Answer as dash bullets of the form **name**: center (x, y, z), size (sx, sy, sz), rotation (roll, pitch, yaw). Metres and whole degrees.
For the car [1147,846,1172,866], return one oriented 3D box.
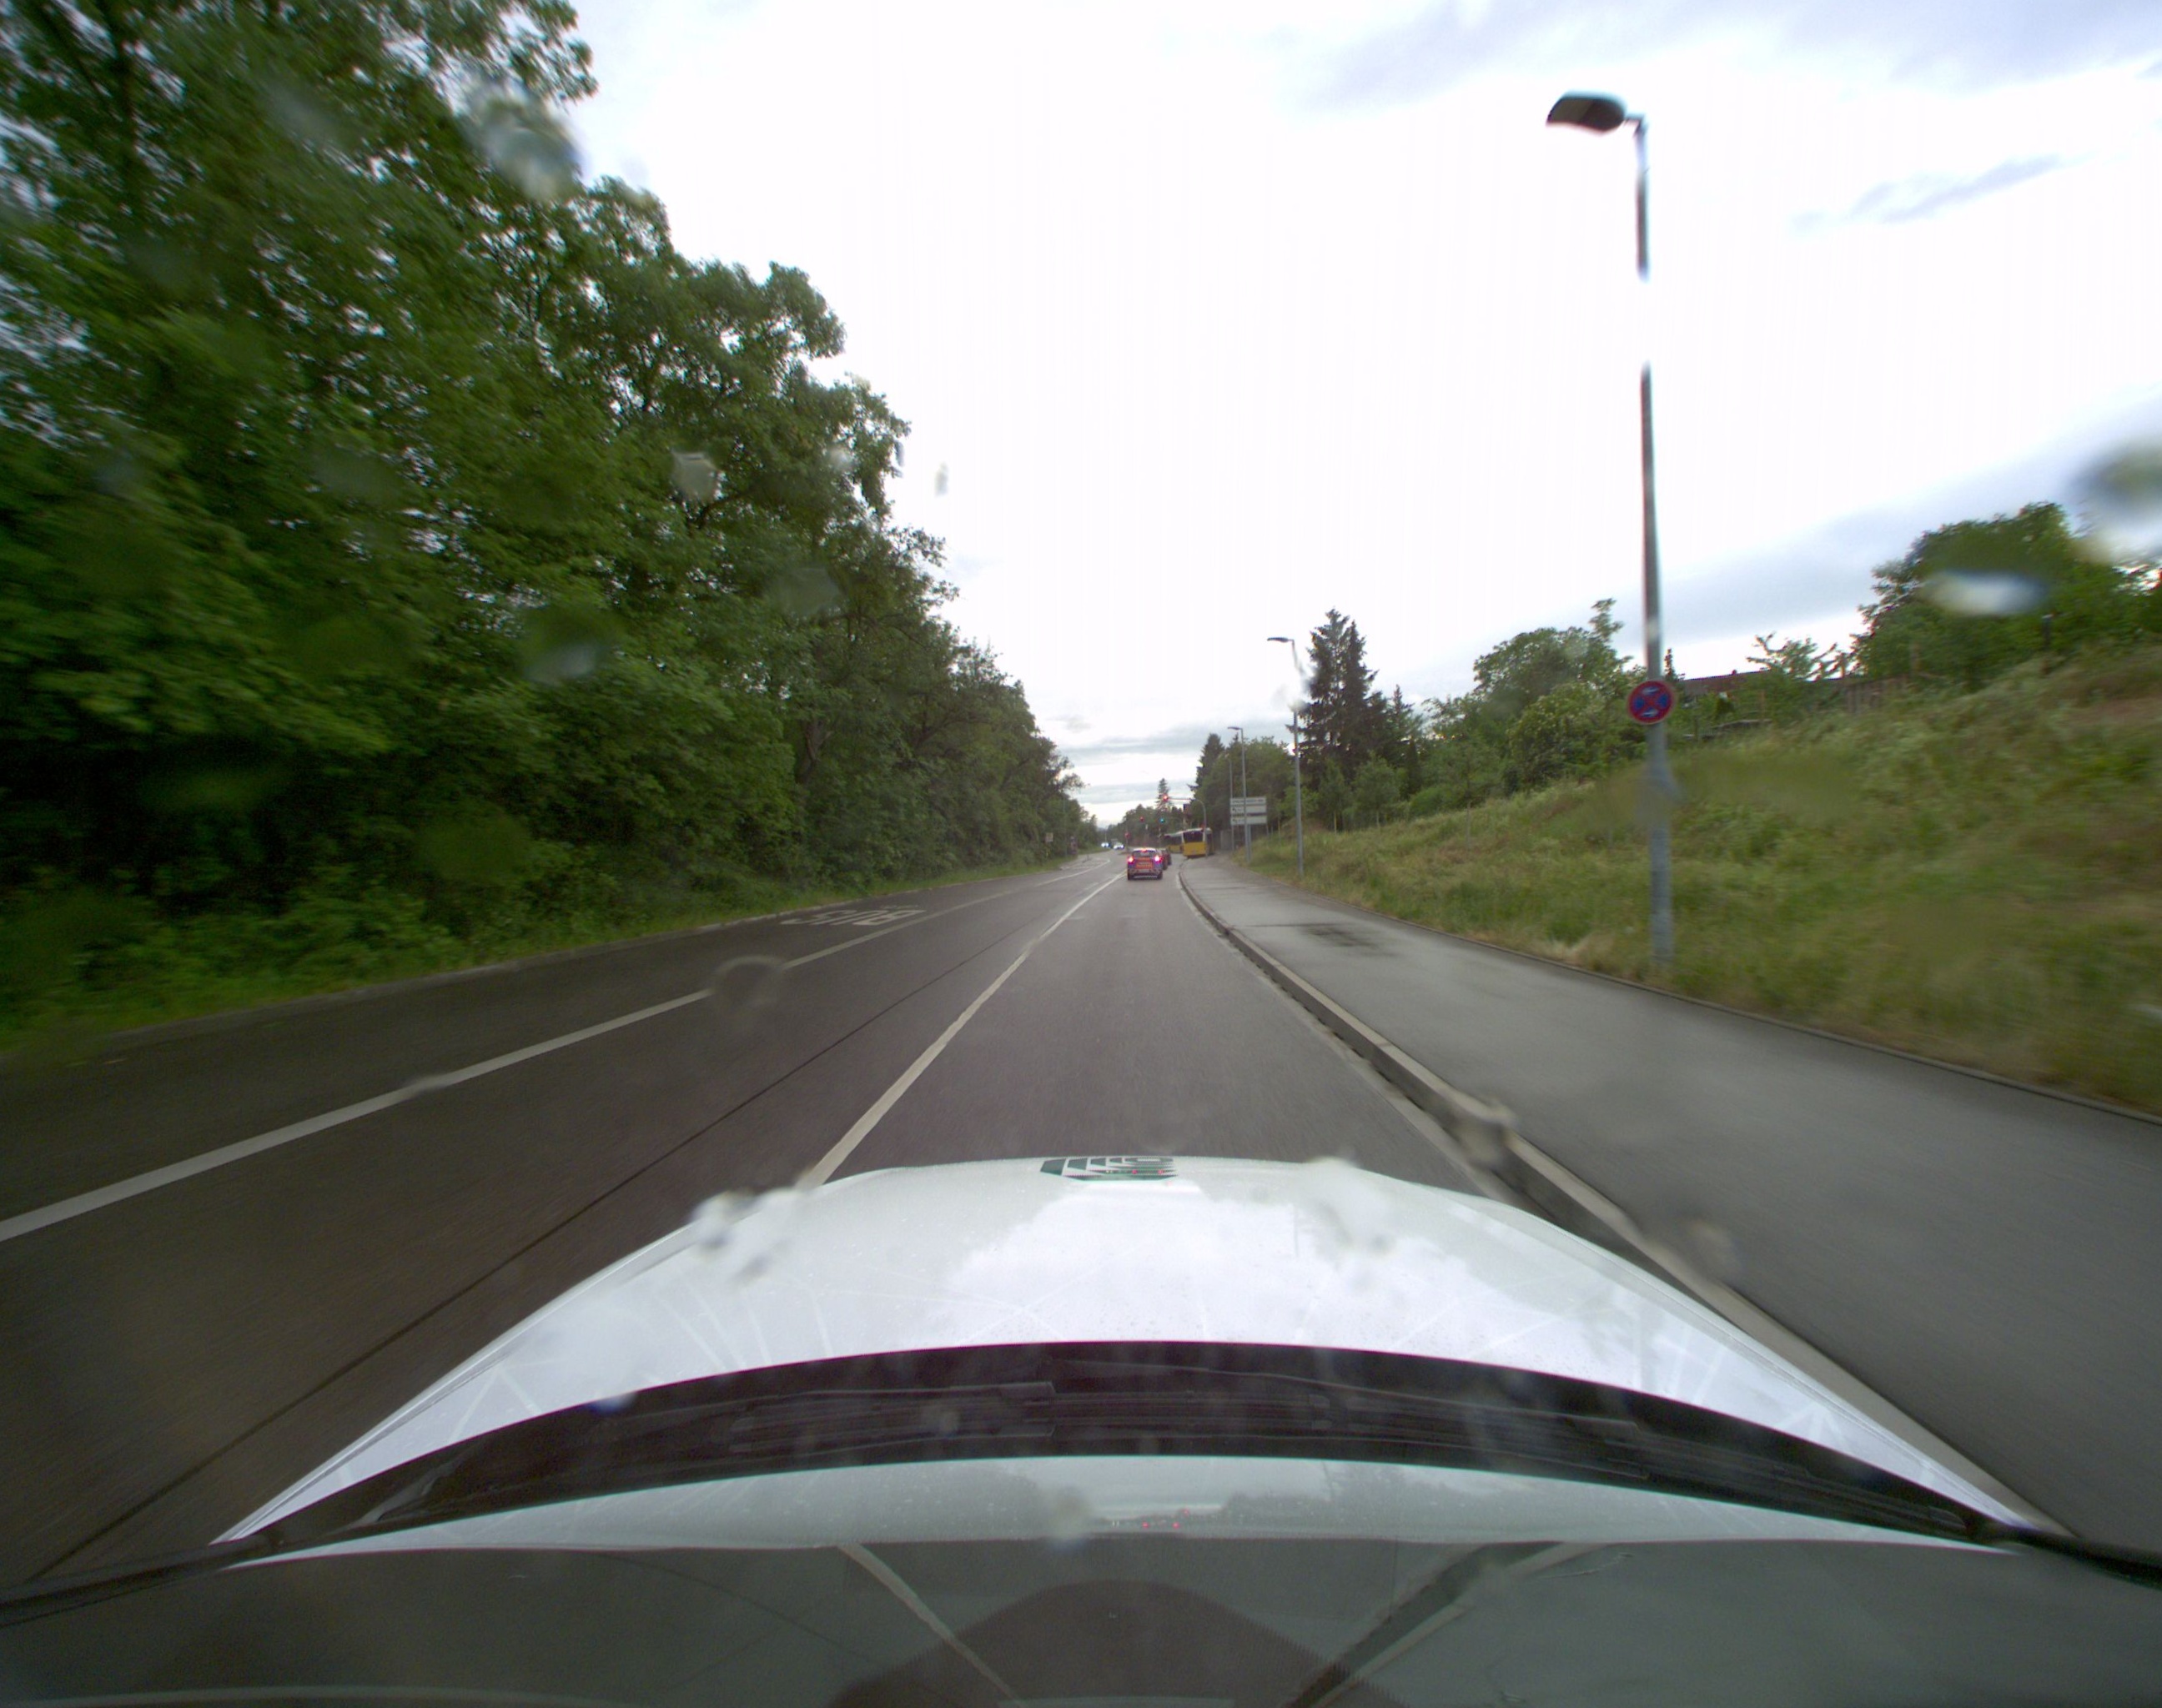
- **car**: center (6.472, 0.182, 67.340), size (1.984, 1.552, 4.005), rotation (-1, 0, 5)

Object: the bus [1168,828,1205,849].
- **bus**: center (15.335, -2.236, 119.439), size (2.814, 2.806, 10.612), rotation (-1, 0, -7)

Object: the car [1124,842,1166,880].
- **car**: center (3.243, 0.321, 41.637), size (1.985, 1.689, 4.005), rotation (-3, 1, 4)

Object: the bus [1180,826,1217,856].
- **bus**: center (12.841, -1.359, 88.596), size (2.796, 3.142, 9.217), rotation (-1, 0, 15)

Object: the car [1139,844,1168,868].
- **car**: center (5.055, 0.102, 56.947), size (1.918, 1.486, 3.804), rotation (-3, 1, 4)

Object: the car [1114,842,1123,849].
- **car**: center (8.712, -1.975, 189.355), size (1.987, 1.420, 3.999), rotation (-1, 0, 0)

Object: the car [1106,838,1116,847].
- **car**: center (7.876, -2.944, 213.685), size (2.262, 2.335, 5.587), rotation (-1, 0, 0)
